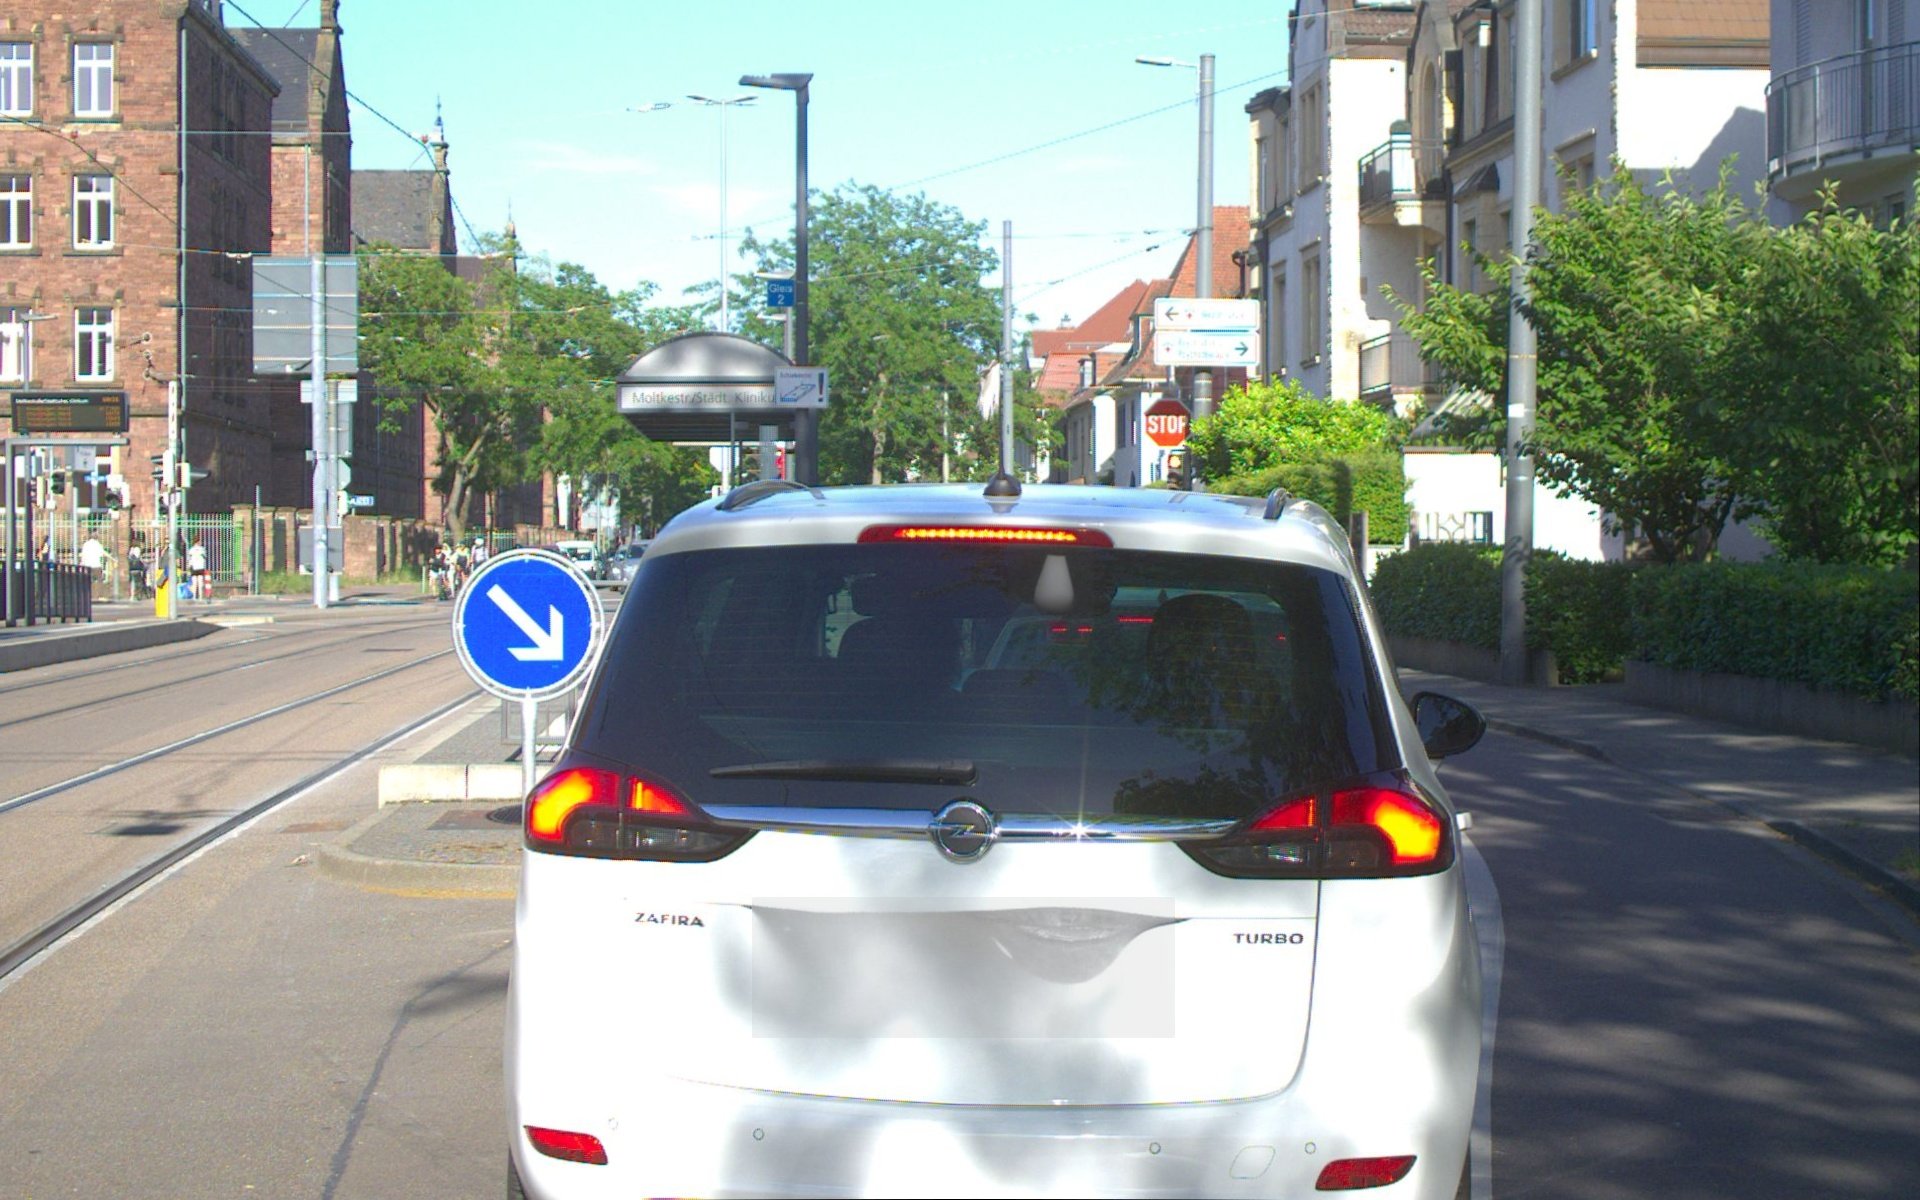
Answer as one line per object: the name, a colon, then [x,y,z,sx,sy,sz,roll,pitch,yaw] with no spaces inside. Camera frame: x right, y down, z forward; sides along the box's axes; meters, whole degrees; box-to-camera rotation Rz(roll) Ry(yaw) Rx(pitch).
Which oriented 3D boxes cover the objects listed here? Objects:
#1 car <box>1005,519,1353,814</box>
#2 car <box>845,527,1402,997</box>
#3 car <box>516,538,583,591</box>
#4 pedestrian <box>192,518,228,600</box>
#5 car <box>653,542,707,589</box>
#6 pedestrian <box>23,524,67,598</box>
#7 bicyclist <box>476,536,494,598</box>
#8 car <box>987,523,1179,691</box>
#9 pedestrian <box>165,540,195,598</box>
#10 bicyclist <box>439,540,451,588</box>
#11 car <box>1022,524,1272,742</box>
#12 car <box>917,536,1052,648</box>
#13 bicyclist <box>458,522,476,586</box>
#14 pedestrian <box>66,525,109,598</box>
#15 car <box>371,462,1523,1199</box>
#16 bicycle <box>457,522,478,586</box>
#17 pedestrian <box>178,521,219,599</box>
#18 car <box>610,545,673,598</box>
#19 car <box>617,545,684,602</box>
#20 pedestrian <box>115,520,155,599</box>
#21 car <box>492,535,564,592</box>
car: [1.433,0.328,21.002,1.907,1.619,3.999,0,1,7]
car: [0.785,0.513,13.780,1.907,1.592,3.999,0,1,7]
car: [-13.559,-1.164,113.716,1.746,1.710,4.000,1,1,-1]
pedestrian: [-18.531,-1.004,84.978,0.794,2.007,0.721,1,0,-17]
car: [-10.496,-1.308,129.074,1.746,1.710,4.000,1,1,-1]
pedestrian: [-23.837,-1.018,89.570,0.808,1.894,0.743,1,0,16]
bicyclist: [-15.417,-1.062,111.579,0.488,2.007,0.502,1,0,-1]
car: [1.244,0.033,36.117,1.907,1.656,4.000,0,1,1]
pedestrian: [-21.613,-0.866,95.281,0.654,1.606,0.711,1,0,2]
bicyclist: [-15.431,-1.073,103.046,0.313,1.439,0.384,0,1,-1]
car: [1.569,0.215,28.280,1.907,1.656,4.000,0,1,4]
car: [0.338,-0.155,53.094,1.907,1.656,4.001,0,1,-2]
bicyclist: [-15.656,-1.465,109.225,0.498,2.007,0.572,0,1,-1]
pedestrian: [-22.594,-0.995,88.990,0.808,1.894,0.743,1,0,14]
car: [0.191,0.566,7.645,1.907,1.656,3.999,0,1,7]
bicycle: [-15.655,-1.465,109.247,0.487,2.007,1.405,0,1,0]
pedestrian: [-19.716,-1.033,88.972,0.795,2.007,0.720,0,0,-37]
car: [-10.658,-0.959,115.222,1.746,1.710,4.000,1,1,-1]
car: [-9.645,-0.829,107.366,1.746,1.710,4.000,1,1,-1]
pedestrian: [-21.202,-1.048,88.349,0.795,2.007,0.720,1,0,-34]
car: [-13.432,-1.128,107.048,1.746,1.710,4.000,1,1,-1]
